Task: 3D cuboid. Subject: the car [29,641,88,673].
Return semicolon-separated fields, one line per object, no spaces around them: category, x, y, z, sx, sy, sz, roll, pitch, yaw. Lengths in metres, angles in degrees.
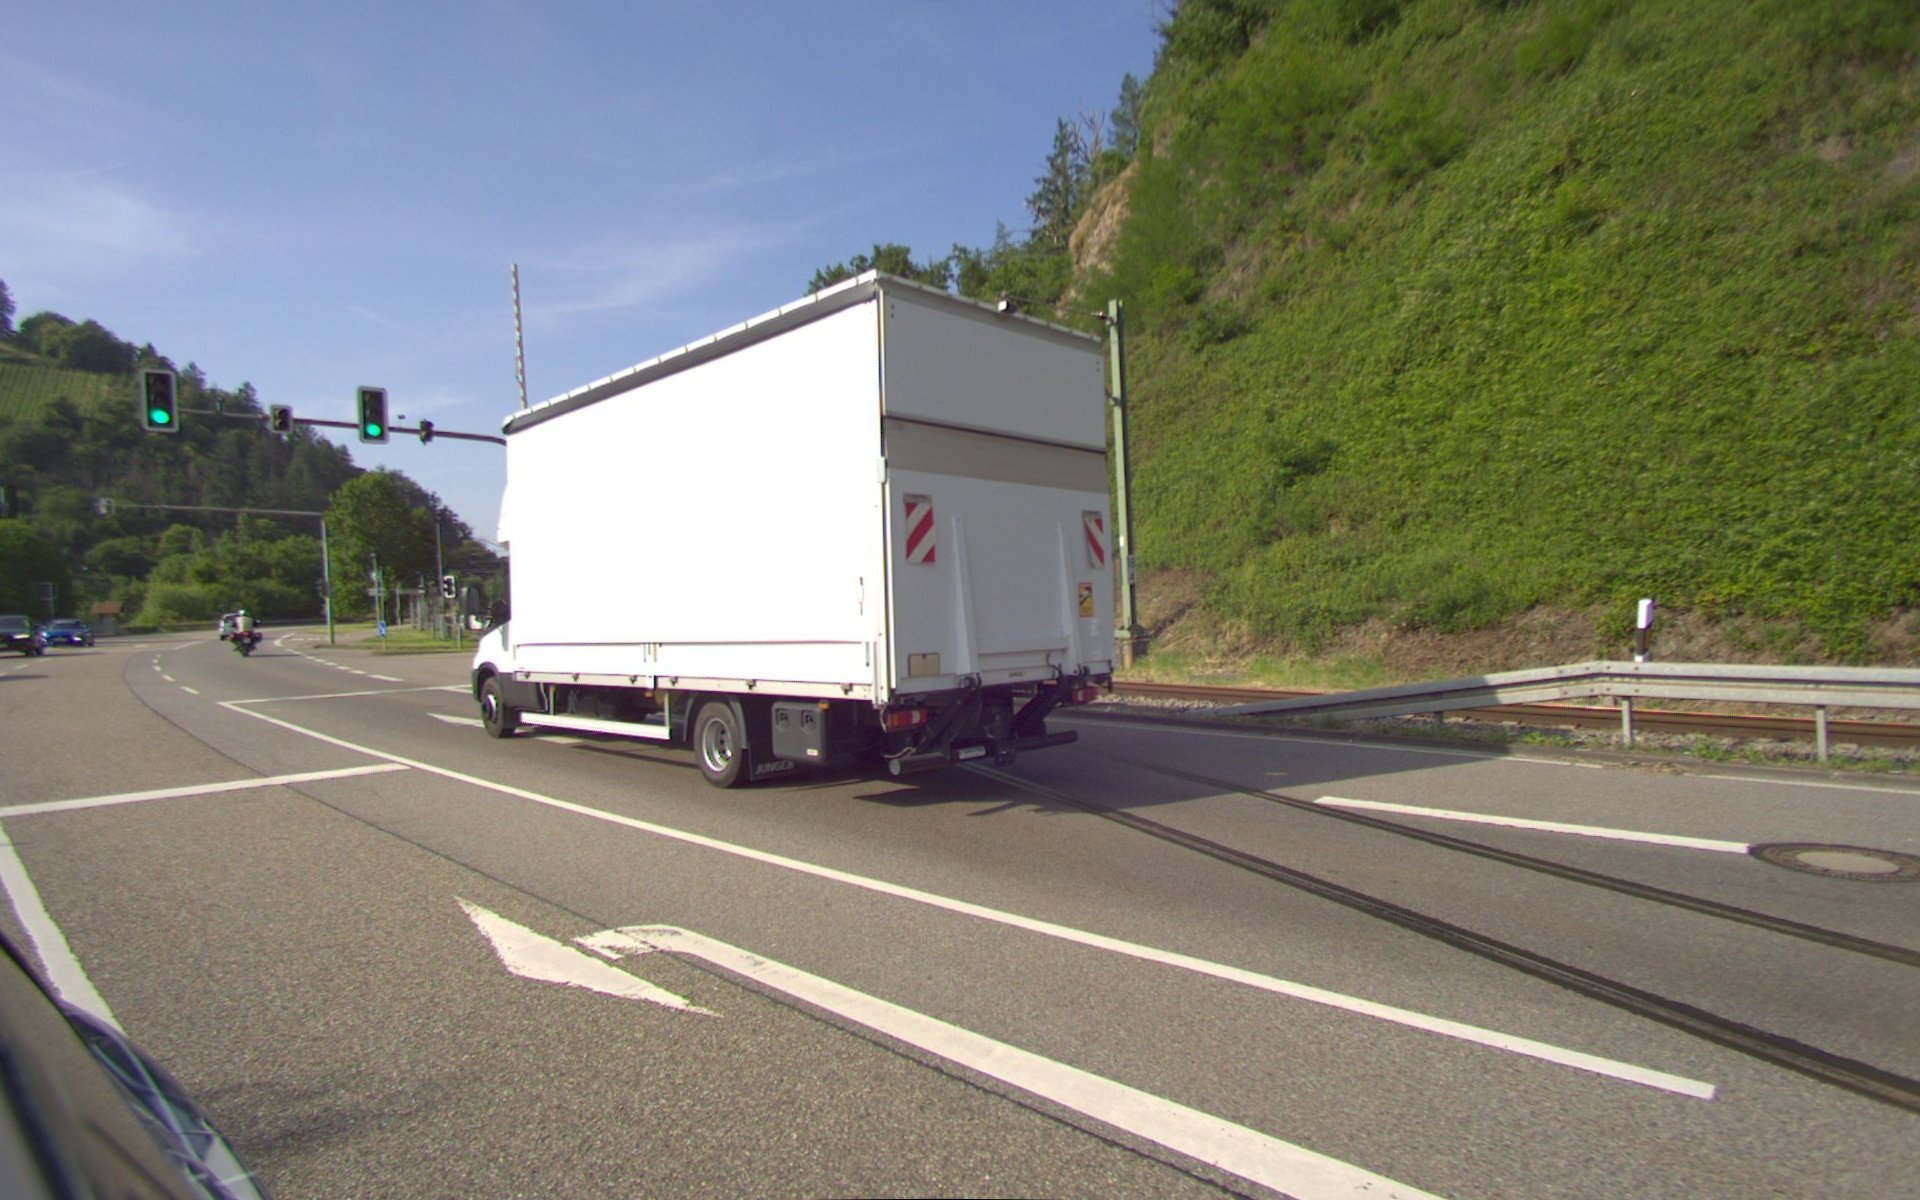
car;-46.924;2.929;52.760;1.838;1.503;4.010;0;-1;-35

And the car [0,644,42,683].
car;-38.183;2.527;40.266;1.967;1.403;4.009;-1;0;-36

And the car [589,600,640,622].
car;-29.955;0.942;87.798;3.931;1.763;1.646;-2;0;-27

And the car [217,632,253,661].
car;-45.101;2.879;63.010;1.670;1.669;4.182;-2;-1;-34

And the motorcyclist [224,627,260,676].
motorcyclist;-26.378;1.866;37.186;0.993;1.728;0.867;-1;0;-39

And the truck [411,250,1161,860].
truck;-2.566;-0.171;10.468;8.895;3.827;2.865;-3;-1;44

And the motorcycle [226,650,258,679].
motorcycle;-26.276;2.339;37.018;0.814;0.961;2.222;-1;-1;-39
